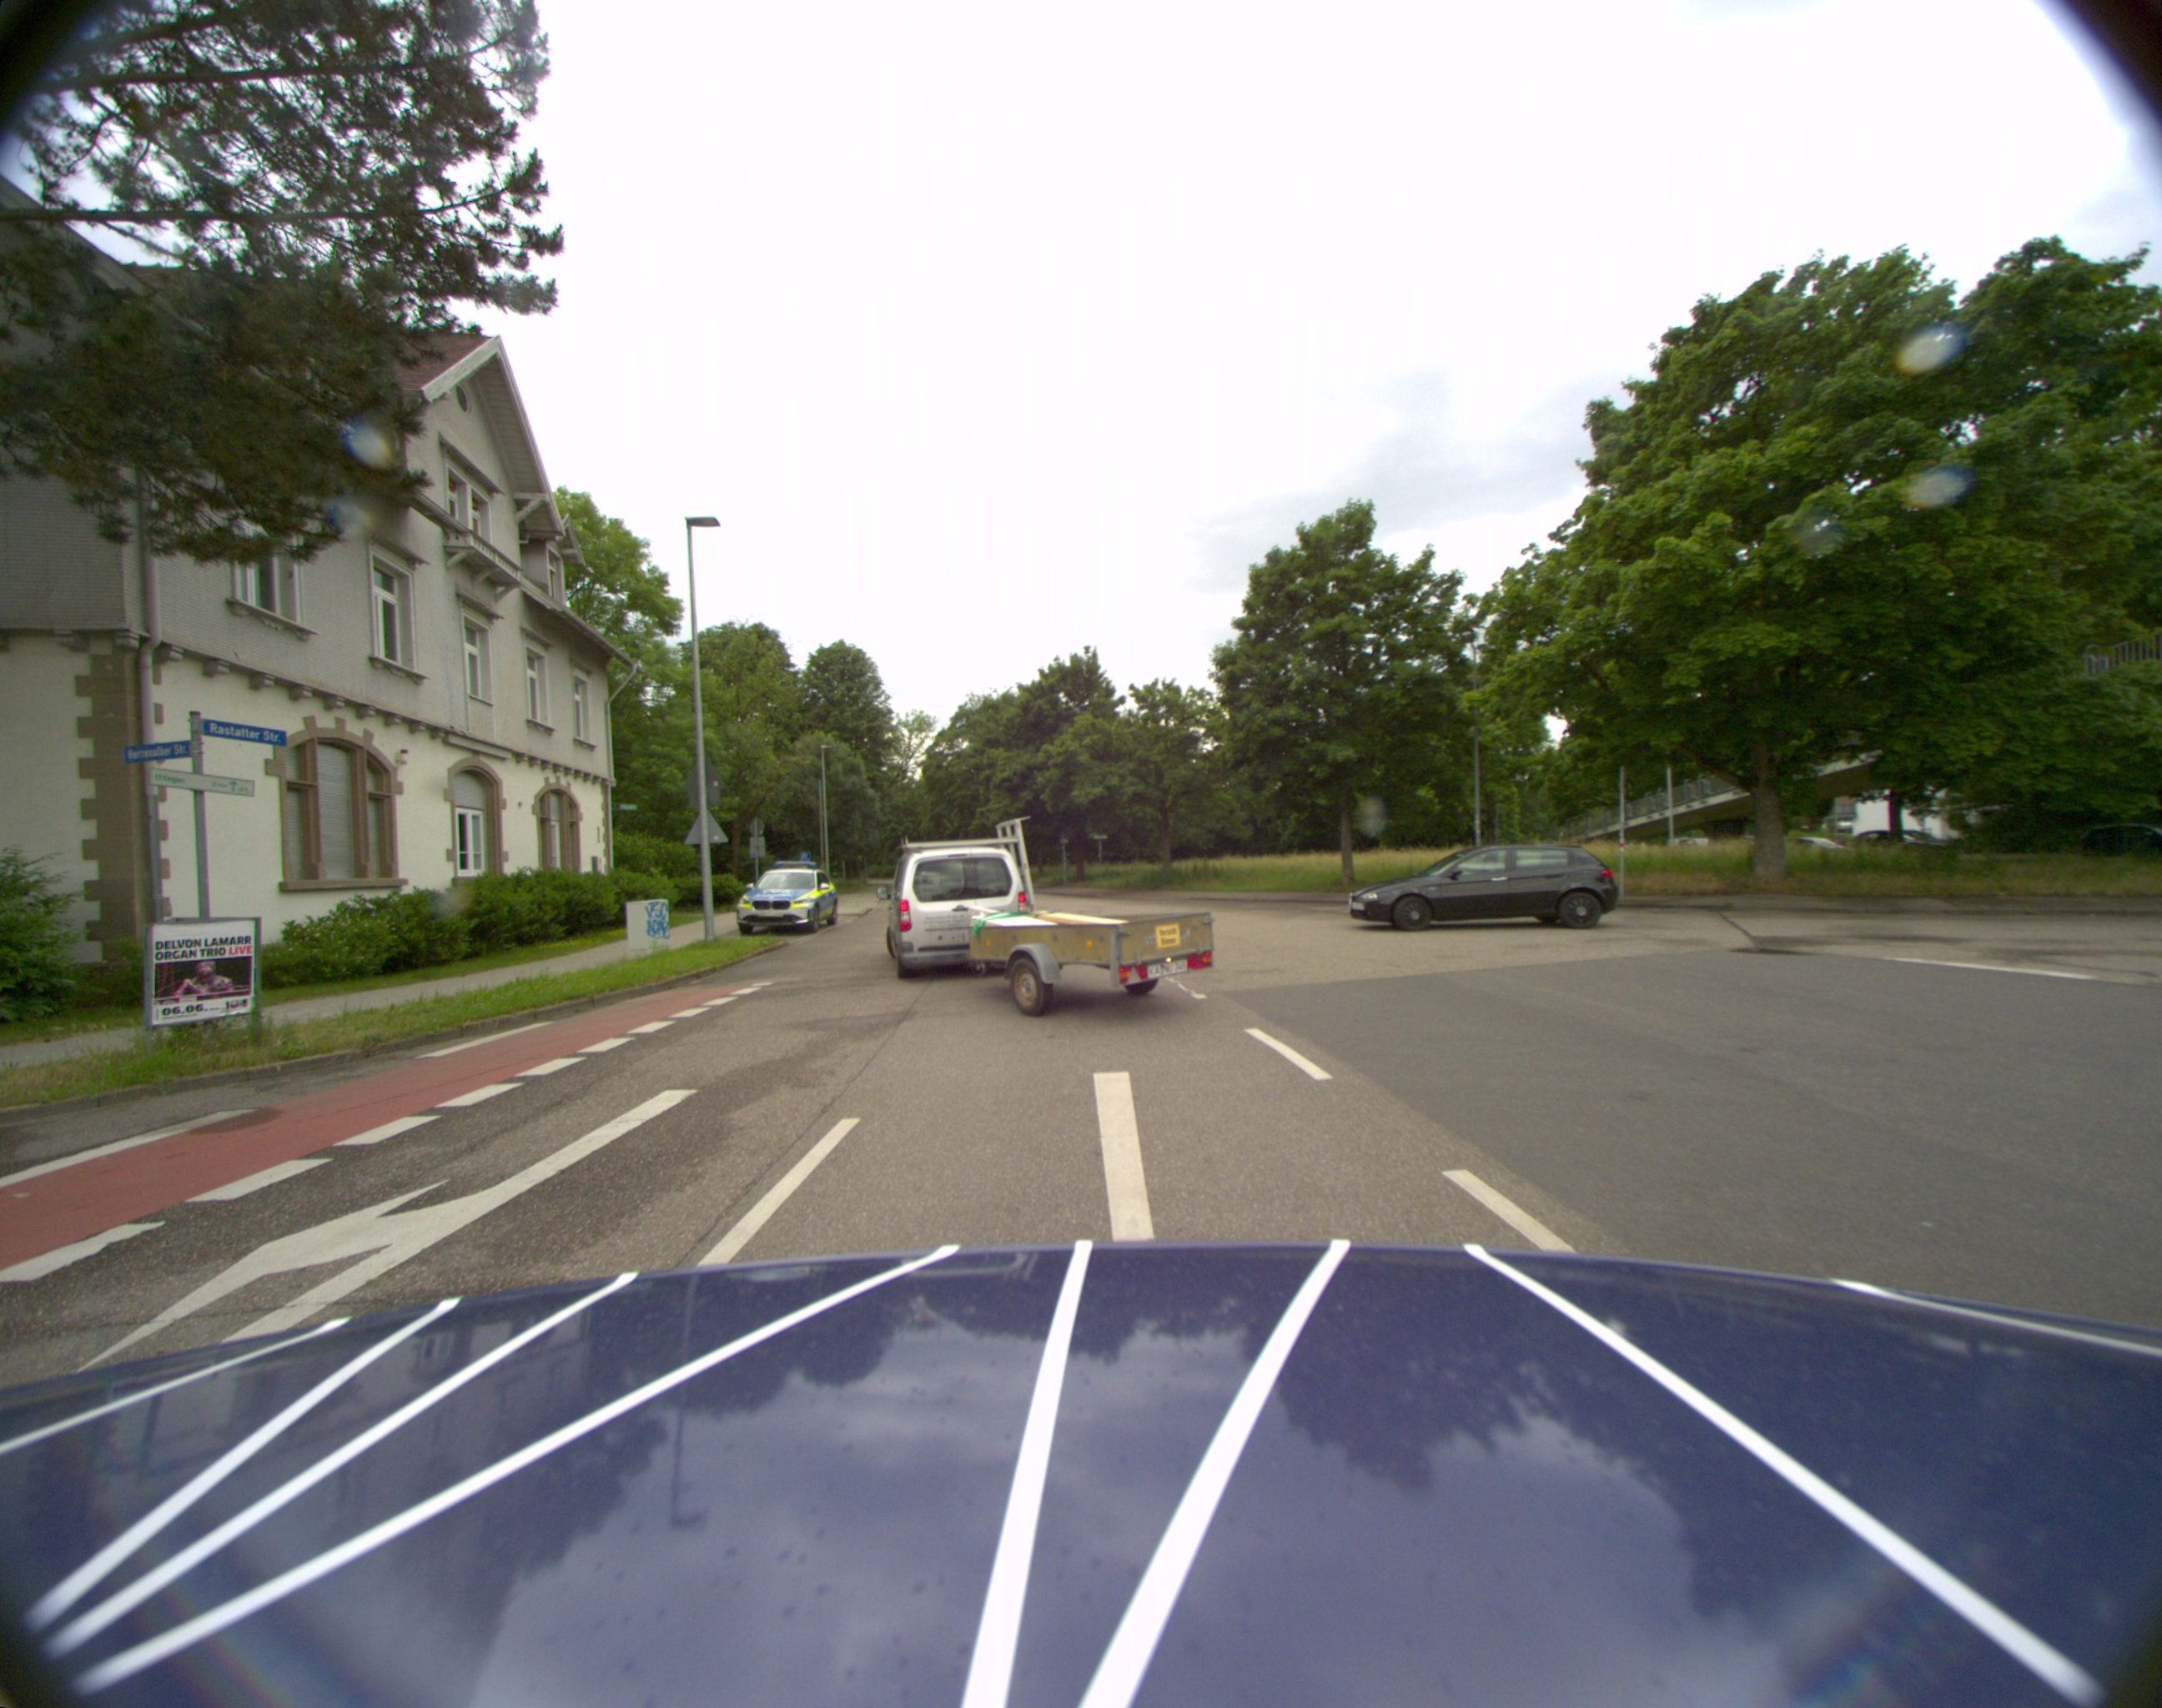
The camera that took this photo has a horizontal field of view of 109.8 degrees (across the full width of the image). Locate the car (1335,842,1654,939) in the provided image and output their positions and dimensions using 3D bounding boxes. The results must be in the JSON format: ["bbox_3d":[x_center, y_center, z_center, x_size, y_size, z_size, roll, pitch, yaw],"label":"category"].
[{"bbox_3d":[6.914,0.618,13.240,4.533,1.448,1.805,-2,0,14],"label":"car"}]

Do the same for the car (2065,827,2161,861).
[{"bbox_3d":[40.405,-0.393,28.710,1.692,1.231,4.003,-2,0,11],"label":"car"}]

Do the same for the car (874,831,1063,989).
[{"bbox_3d":[-1.898,0.680,11.447,2.096,1.847,4.215,-2,0,-18],"label":"car"}]

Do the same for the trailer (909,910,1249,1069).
[{"bbox_3d":[-0.189,1.211,7.850,1.575,0.980,3.455,-3,1,-42],"label":"trailer"}]

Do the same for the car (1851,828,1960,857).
[{"bbox_3d":[41.827,-0.574,38.688,1.692,1.343,4.003,-2,0,11],"label":"car"}]

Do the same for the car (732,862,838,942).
[{"bbox_3d":[-7.613,1.151,19.929,1.937,1.839,3.996,0,0,-12],"label":"car"}]
